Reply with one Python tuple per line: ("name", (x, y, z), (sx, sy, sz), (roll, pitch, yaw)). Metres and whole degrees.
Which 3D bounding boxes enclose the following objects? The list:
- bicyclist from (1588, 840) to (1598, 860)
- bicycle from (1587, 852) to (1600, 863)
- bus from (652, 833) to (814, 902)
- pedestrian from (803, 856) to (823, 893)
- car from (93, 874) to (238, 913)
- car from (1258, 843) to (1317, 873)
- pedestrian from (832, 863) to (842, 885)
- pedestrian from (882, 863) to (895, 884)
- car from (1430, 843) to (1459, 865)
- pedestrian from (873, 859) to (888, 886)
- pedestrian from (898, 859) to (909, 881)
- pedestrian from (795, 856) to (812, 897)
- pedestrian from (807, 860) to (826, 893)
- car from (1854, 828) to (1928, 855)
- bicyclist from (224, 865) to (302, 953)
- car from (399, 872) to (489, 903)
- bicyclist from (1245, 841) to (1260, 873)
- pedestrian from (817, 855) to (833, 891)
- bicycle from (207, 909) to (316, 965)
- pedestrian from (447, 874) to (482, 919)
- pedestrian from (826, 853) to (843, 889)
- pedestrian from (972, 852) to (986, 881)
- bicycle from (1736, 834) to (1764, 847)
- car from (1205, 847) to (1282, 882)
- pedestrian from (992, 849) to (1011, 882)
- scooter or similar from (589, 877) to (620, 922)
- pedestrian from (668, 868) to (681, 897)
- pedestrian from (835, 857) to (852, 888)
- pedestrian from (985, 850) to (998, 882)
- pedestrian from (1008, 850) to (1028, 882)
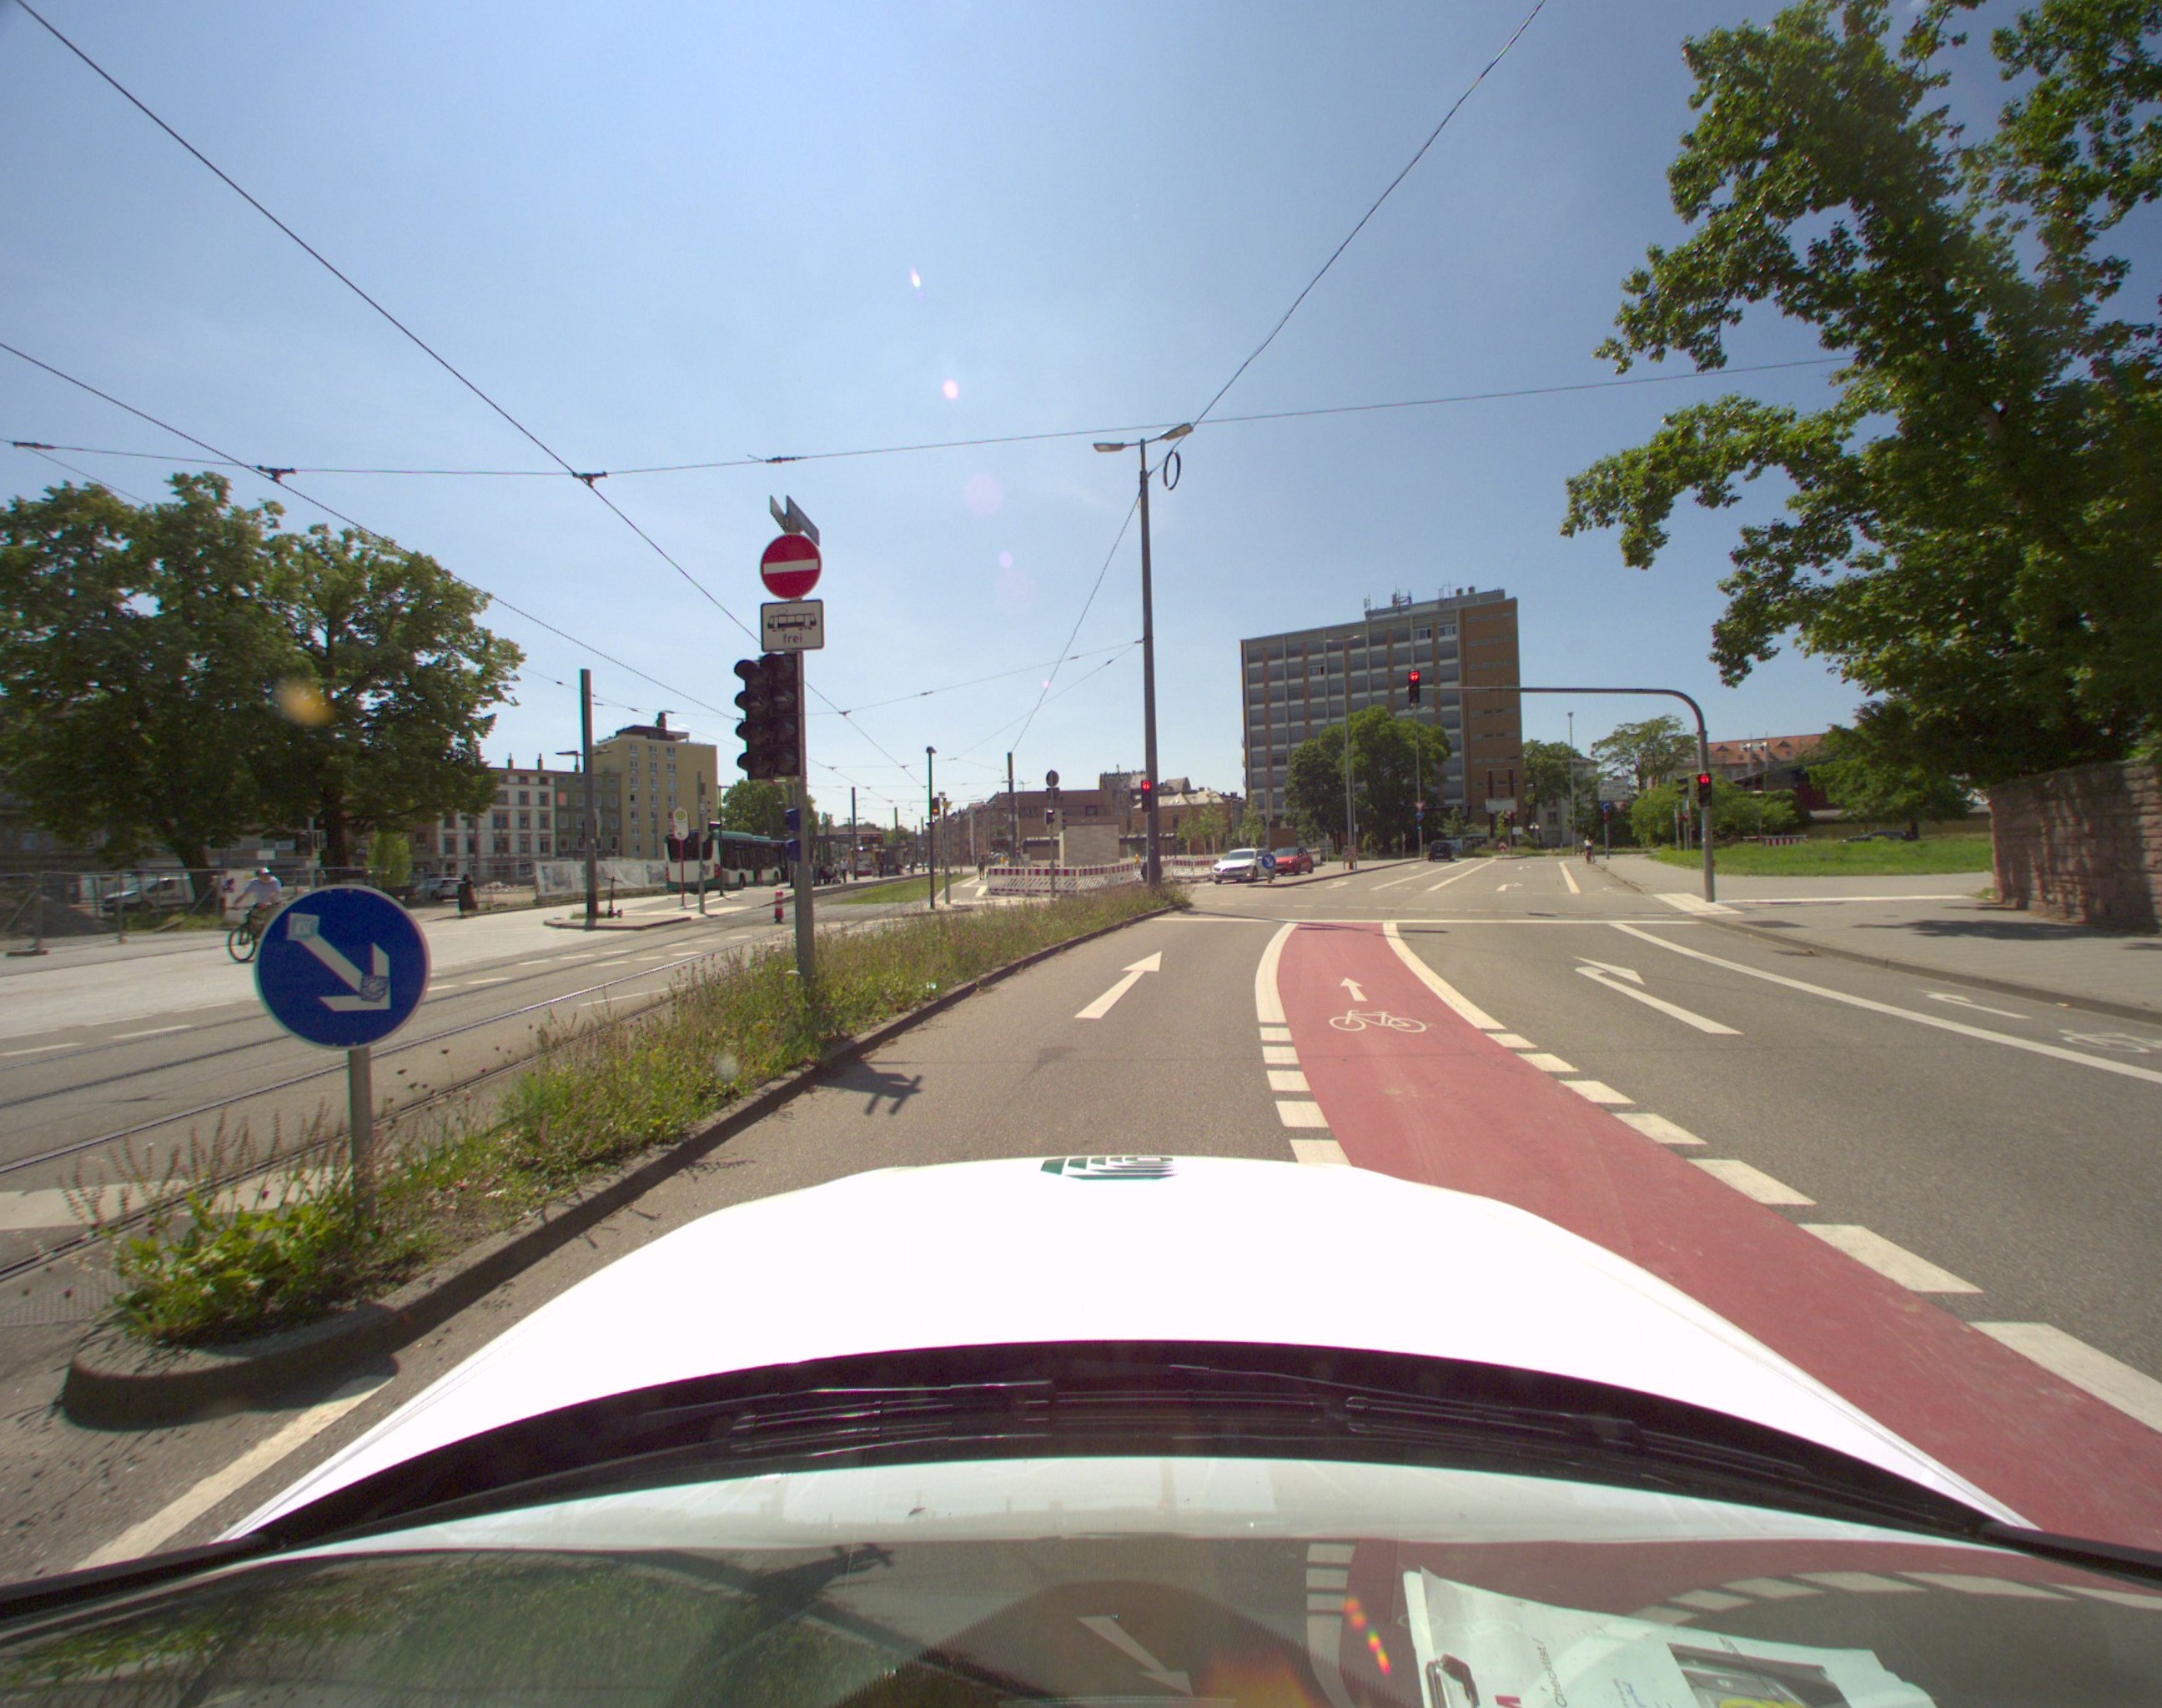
("bicyclist", (31.553, -0.236, 50.195), (0.348, 1.227, 0.567), (-2, -1, 23))
("bicycle", (31.557, 0.207, 50.165), (0.373, 0.646, 1.653), (-2, 0, 23))
("bus", (-19.413, 0.693, 47.528), (3.004, 3.158, 17.471), (-2, 0, -4))
("pedestrian", (-14.703, 1.129, 44.712), (0.943, 1.990, 1.023), (-2, 0, -15))
("car", (-52.275, 2.208, 46.654), (2.095, 1.884, 5.058), (-2, 0, 15))
("car", (10.774, 0.204, 42.305), (1.714, 1.425, 4.150), (-2, -1, 32))
("pedestrian", (-23.063, 1.894, 76.919), (0.709, 2.111, 0.651), (-2, -1, -29))
("pedestrian", (-17.695, 1.808, 74.786), (0.976, 1.834, 0.770), (-2, -1, -29))
("car", (26.715, 0.009, 59.977), (1.674, 1.527, 3.709), (-2, 0, 20))
("pedestrian", (-15.818, 1.455, 64.226), (0.896, 2.096, 0.831), (-2, 0, 0))
("pedestrian", (-17.402, 1.571, 79.790), (0.828, 2.096, 0.900), (-2, 0, -6))
("pedestrian", (-13.278, 1.070, 38.962), (0.674, 1.909, 0.637), (-2, 0, -15))
("pedestrian", (-14.940, 1.265, 45.988), (0.913, 1.851, 0.654), (-2, 0, -15))
("car", (65.853, -1.007, 66.294), (3.948, 2.014, 1.479), (-2, -2, 32))
("bicyclist", (-16.679, 1.094, 16.621), (0.823, 1.709, 0.766), (-2, 0, -17))
("car", (-38.515, 2.011, 49.302), (4.160, 1.649, 1.855), (-2, 0, 7))
("bicyclist", (9.135, 0.157, 43.432), (0.561, 1.719, 0.510), (-1, 0, 36))
("pedestrian", (-15.288, 1.116, 48.606), (0.826, 2.096, 0.638), (-2, -1, -16))
("bicycle", (-16.664, 1.647, 16.638), (0.504, 0.914, 2.356), (-2, 0, -17))
("pedestrian", (-22.746, 1.552, 30.054), (0.603, 1.602, 0.827), (-2, 0, 5))
("pedestrian", (-15.054, 1.034, 49.662), (0.901, 2.096, 0.827), (-2, 0, -16))
("pedestrian", (-6.139, 0.769, 49.023), (0.728, 1.707, 0.739), (-1, -2, -16))
("bicycle", (63.152, -1.275, 76.893), (1.988, 1.135, 0.577), (-3, -2, 42))
("car", (7.335, 0.438, 36.415), (1.974, 1.438, 4.734), (-2, -1, 29))
("pedestrian", (-4.533, 0.665, 46.365), (0.721, 1.864, 0.771), (-3, -2, 44))
("scooter or similar", (-13.775, 1.300, 23.579), (0.318, 1.206, 1.244), (-2, 0, -9))
("pedestrian", (-24.166, 1.684, 48.366), (0.566, 1.705, 0.396), (-2, 0, -12))
("pedestrian", (-16.337, 1.267, 56.004), (0.896, 2.096, 0.831), (-2, 0, 0))
("pedestrian", (-5.567, 0.753, 50.501), (0.719, 1.923, 1.070), (-1, -1, -10))
("pedestrian", (-3.719, 0.715, 47.743), (0.980, 1.832, 0.629), (-2, -1, -20))
